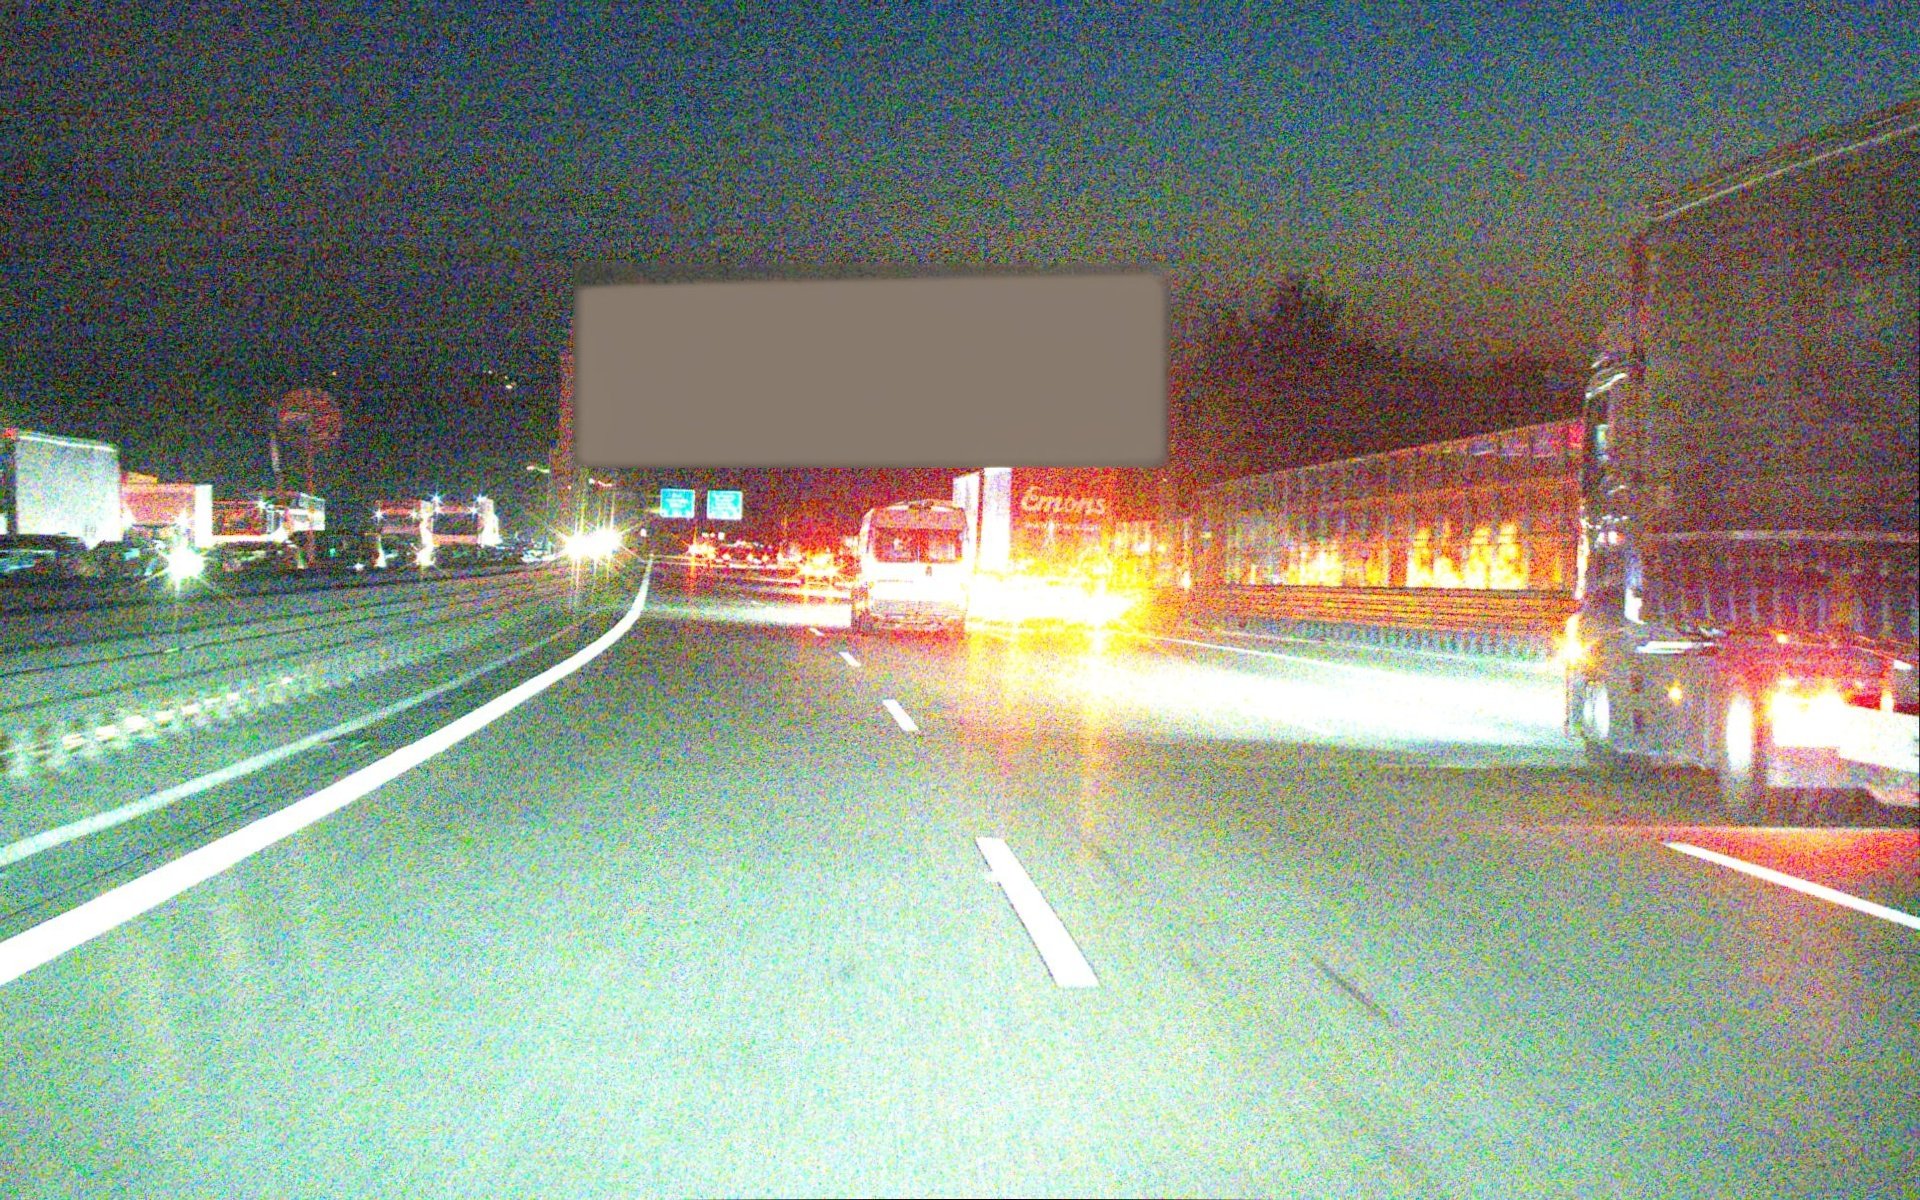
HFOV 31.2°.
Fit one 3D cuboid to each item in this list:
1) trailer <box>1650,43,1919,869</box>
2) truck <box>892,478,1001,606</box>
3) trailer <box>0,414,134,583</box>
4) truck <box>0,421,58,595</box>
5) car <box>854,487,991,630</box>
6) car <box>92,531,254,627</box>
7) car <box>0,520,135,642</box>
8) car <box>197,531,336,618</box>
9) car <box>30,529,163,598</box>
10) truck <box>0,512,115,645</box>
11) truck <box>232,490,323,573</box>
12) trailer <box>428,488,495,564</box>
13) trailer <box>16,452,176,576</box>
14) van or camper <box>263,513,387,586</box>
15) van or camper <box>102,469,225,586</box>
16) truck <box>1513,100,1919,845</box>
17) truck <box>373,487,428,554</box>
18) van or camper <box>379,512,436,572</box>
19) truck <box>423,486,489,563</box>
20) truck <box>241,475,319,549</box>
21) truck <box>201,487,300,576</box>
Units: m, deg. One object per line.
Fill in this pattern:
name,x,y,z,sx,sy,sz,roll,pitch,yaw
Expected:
trailer,6.217,-0.685,15.506,2.853,4.053,13.207,0,1,-3
truck,-0.635,-2.212,131.071,3.344,4.460,13.911,3,1,-3
trailer,-21.325,-2.264,79.675,2.393,3.615,11.182,2,0,-5
truck,-20.691,-1.923,71.450,2.403,3.502,6.725,2,1,-4
car,-0.693,-0.762,67.742,2.337,2.631,5.247,2,-1,3
car,-11.881,-0.329,52.117,1.570,1.349,4.000,1,1,-1
car,-10.933,-0.252,40.252,1.570,1.349,4.000,1,1,0
car,-12.388,-0.468,61.631,1.658,1.466,4.000,1,1,0
car,-17.885,-0.766,71.380,1.796,1.349,4.240,1,1,-2
truck,-26.611,-0.657,99.897,2.882,3.663,7.265,1,1,-5
truck,-26.261,-2.577,132.487,2.555,2.975,7.454,2,0,-5
trailer,-26.846,-3.919,185.509,2.885,3.659,12.219,4,0,-6
trailer,-27.499,-2.671,110.080,2.882,3.663,13.134,1,1,-5
van or camper,-12.736,-1.014,69.187,1.820,1.349,5.353,1,1,-4
van or camper,-23.489,-2.110,101.669,2.432,3.261,7.395,1,1,-5
truck,5.822,-0.753,22.559,2.861,4.063,7.511,0,1,-3
truck,-32.125,-4.581,197.531,2.873,3.661,6.052,3,1,-9
van or camper,-25.272,-2.639,157.450,2.083,2.623,7.606,1,1,-6
truck,-26.195,-3.894,178.843,2.873,3.661,6.781,4,0,-6
truck,-33.841,-4.345,171.294,2.959,3.430,6.363,3,1,-5
truck,-25.471,-2.402,123.653,2.555,2.975,7.454,2,0,-5
